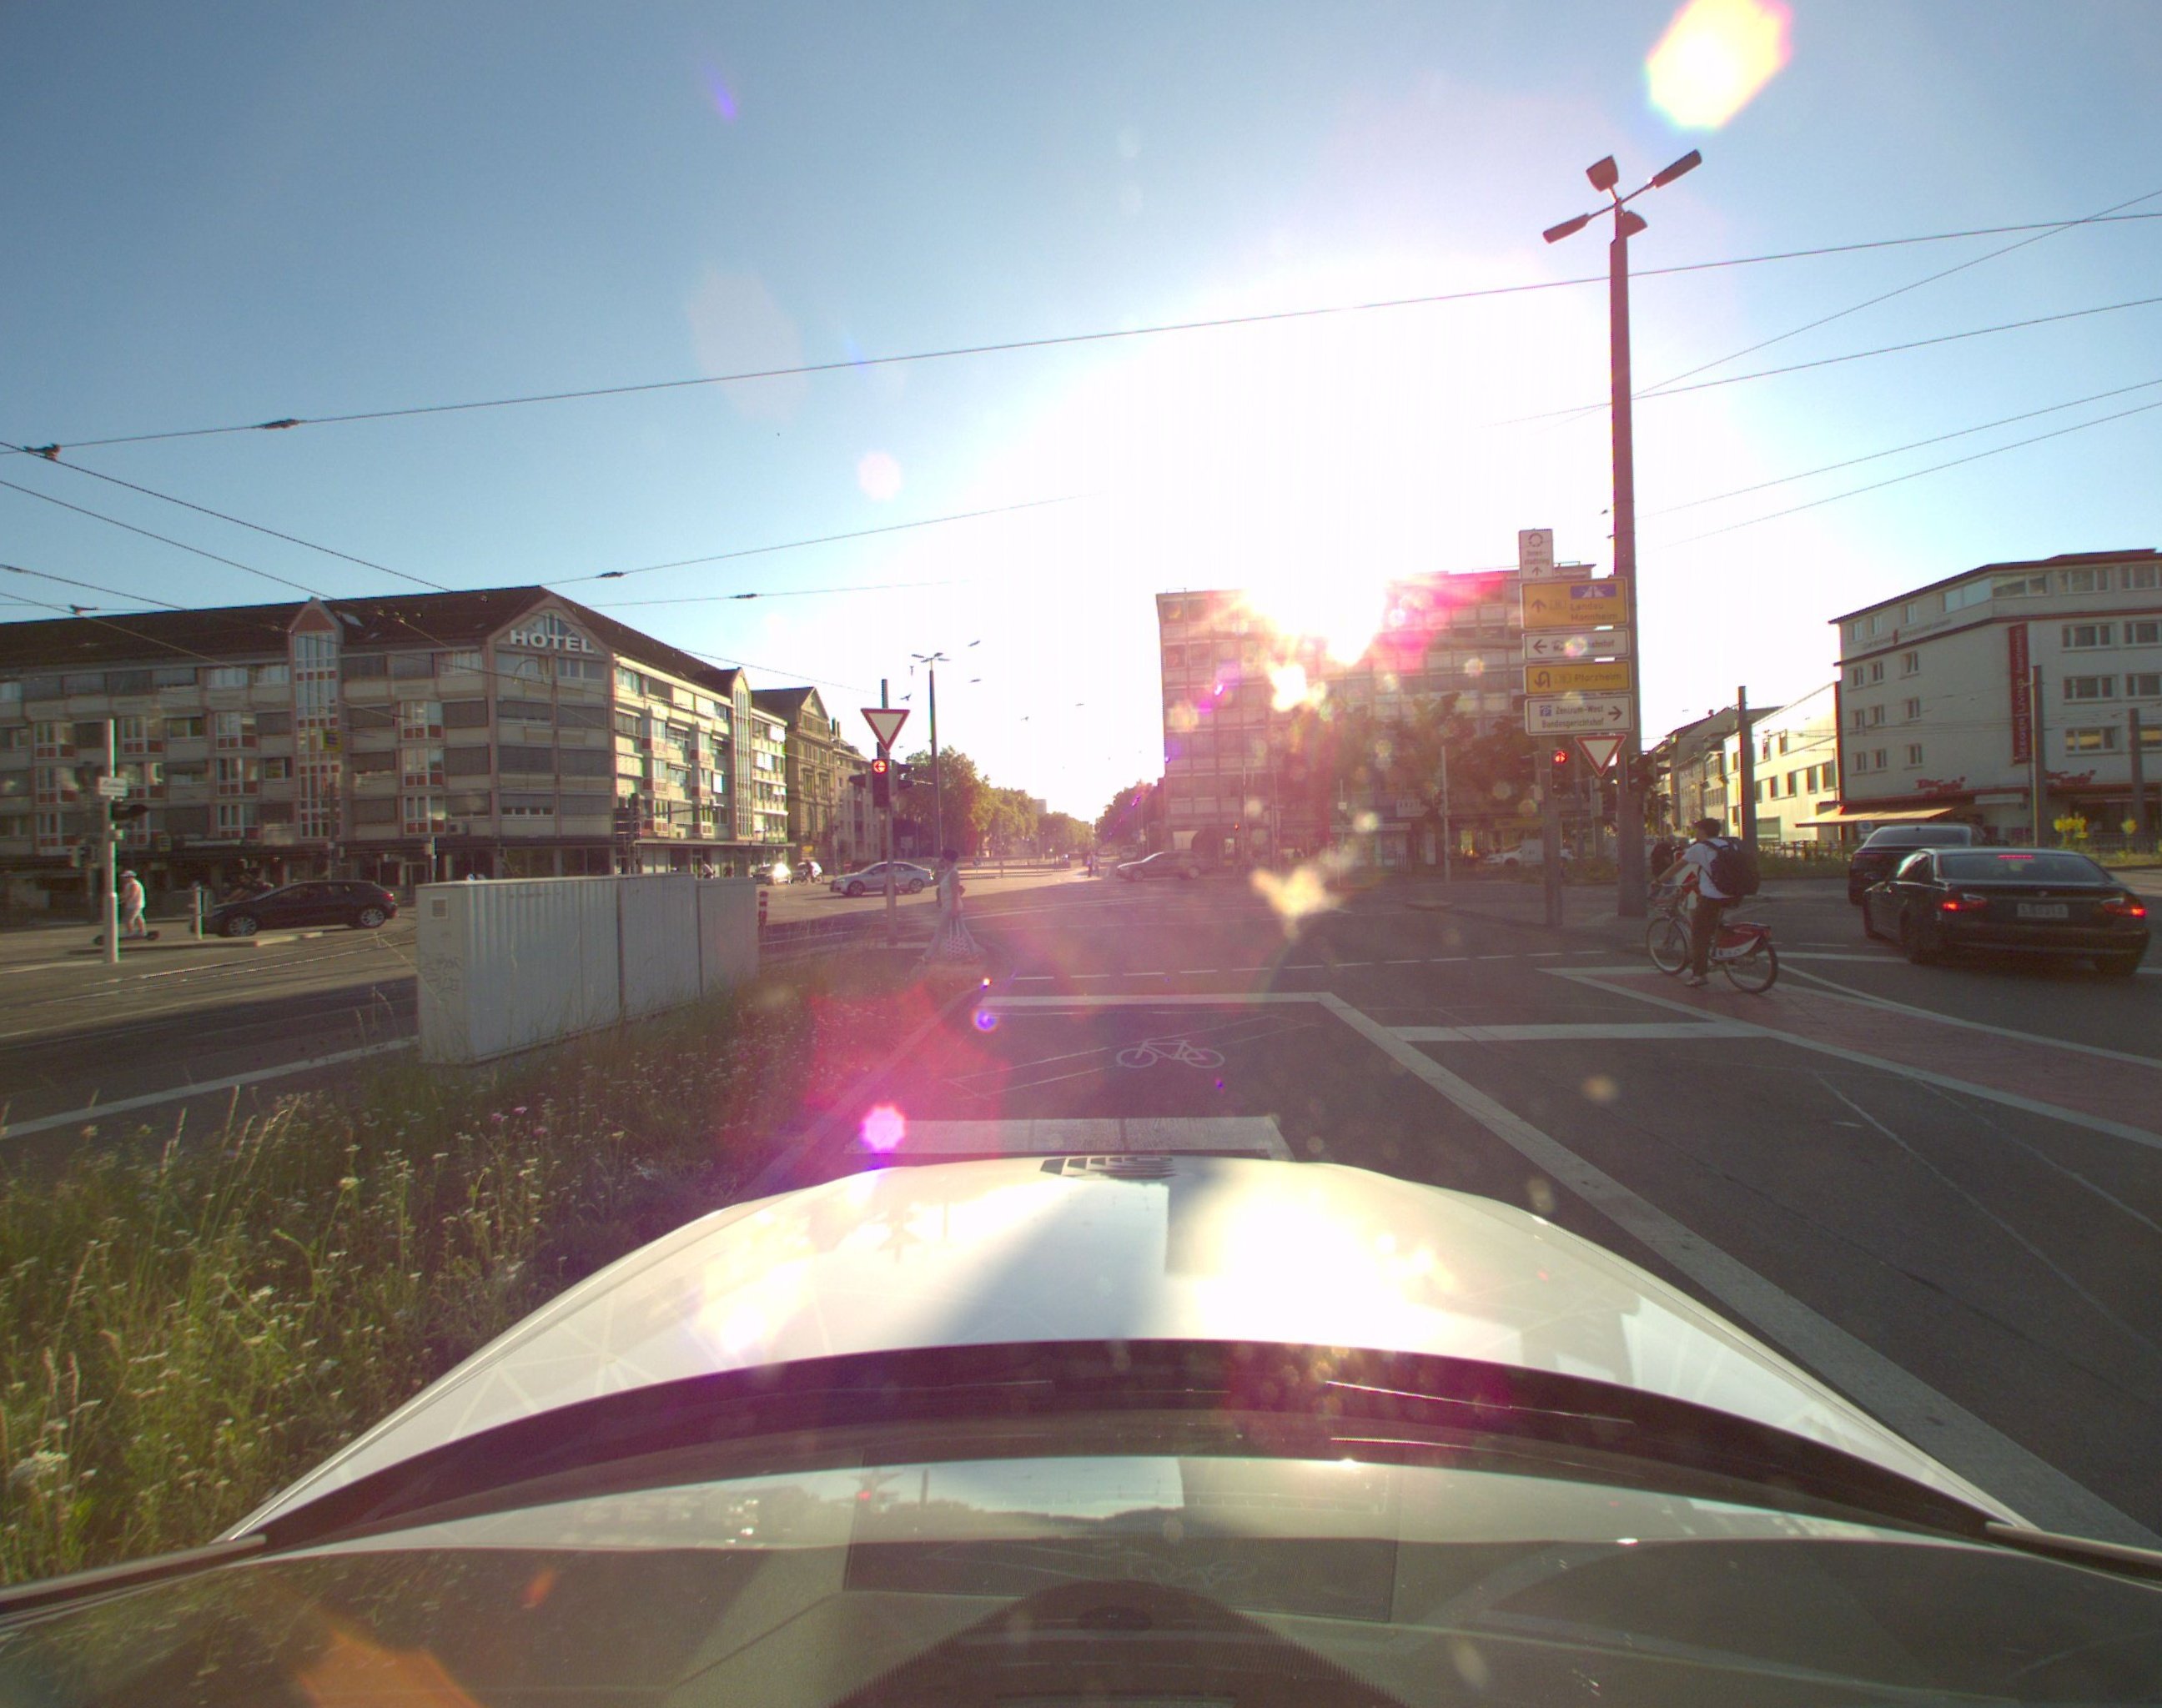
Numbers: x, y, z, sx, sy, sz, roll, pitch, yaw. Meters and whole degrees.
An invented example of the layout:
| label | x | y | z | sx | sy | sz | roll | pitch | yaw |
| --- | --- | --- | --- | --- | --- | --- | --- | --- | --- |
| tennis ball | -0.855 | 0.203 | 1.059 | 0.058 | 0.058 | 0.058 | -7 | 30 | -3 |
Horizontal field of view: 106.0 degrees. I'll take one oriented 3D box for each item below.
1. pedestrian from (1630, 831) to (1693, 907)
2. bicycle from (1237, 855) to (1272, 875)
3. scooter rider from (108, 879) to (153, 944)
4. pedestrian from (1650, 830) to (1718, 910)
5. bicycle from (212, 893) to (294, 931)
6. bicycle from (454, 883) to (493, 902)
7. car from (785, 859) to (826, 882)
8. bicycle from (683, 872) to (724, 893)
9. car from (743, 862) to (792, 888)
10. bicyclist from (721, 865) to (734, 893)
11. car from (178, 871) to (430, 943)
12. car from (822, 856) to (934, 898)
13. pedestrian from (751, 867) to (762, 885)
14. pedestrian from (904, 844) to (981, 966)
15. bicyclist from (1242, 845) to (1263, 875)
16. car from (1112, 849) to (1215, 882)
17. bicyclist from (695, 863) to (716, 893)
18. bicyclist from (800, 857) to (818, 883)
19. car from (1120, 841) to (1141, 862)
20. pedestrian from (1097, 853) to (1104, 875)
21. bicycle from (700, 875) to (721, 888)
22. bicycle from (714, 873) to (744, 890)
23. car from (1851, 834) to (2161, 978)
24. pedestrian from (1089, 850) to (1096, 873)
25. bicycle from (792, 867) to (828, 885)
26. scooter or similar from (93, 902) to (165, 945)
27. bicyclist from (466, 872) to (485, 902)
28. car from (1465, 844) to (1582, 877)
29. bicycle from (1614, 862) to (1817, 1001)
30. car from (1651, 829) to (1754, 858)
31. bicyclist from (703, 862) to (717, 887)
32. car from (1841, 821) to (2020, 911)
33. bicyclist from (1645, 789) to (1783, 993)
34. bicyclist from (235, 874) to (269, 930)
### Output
| label | x | y | z | sx | sy | sz | roll | pitch | yaw |
| --- | --- | --- | --- | --- | --- | --- | --- | --- | --- |
| pedestrian | 12.734 | 0.324 | 17.882 | 0.876 | 1.597 | 0.655 | -2 | 0 | 0 |
| bicycle | 10.484 | 0.672 | 49.286 | 1.967 | 1.098 | 0.677 | -2 | 0 | -2 |
| scooter rider | -26.151 | 1.578 | 22.413 | 0.520 | 1.712 | 0.670 | -3 | 0 | 29 |
| pedestrian | 12.565 | 0.321 | 16.981 | 0.876 | 1.597 | 0.655 | -2 | 0 | 0 |
| bicycle | -26.565 | 1.845 | 26.153 | 0.528 | 1.072 | 1.793 | -3 | 0 | 39 |
| bicycle | -35.754 | 2.259 | 47.920 | 1.731 | 1.059 | 0.538 | -2 | 0 | -8 |
| car | -24.275 | 1.429 | 71.905 | 1.984 | 1.859 | 4.005 | -2 | 0 | 4 |
| bicycle | -22.570 | 1.704 | 48.692 | 2.089 | 1.137 | 0.658 | -2 | 0 | -3 |
| car | -24.558 | 1.594 | 63.962 | 1.984 | 1.859 | 4.005 | -2 | 0 | 4 |
| bicyclist | -26.009 | 1.841 | 59.945 | 0.779 | 2.013 | 0.600 | -2 | 0 | -22 |
| car | -21.631 | 1.392 | 22.897 | 1.974 | 1.596 | 4.811 | -2 | 0 | 35 |
| car | -8.874 | 0.967 | 35.729 | 4.360 | 1.596 | 1.980 | -2 | 0 | -31 |
| pedestrian | -29.118 | 1.979 | 73.096 | 0.623 | 1.605 | 0.705 | -2 | 0 | 3 |
| pedestrian | -1.902 | 0.686 | 11.260 | 0.875 | 1.597 | 0.655 | -2 | 0 | 1 |
| bicyclist | 10.388 | 0.357 | 49.283 | 1.037 | 1.739 | 0.677 | -2 | 0 | -2 |
| car | 4.231 | 0.557 | 41.934 | 4.918 | 1.479 | 1.994 | -2 | 0 | -9 |
| bicyclist | -22.473 | 1.420 | 48.697 | 0.896 | 1.752 | 0.654 | -2 | 0 | -2 |
| bicyclist | -18.612 | 1.074 | 55.715 | 0.896 | 1.752 | 0.650 | -2 | 0 | -2 |
| car | 6.389 | -0.309 | 106.293 | 2.477 | 2.392 | 5.936 | -4 | 0 | 2 |
| pedestrian | 1.286 | 0.664 | 54.737 | 0.365 | 1.508 | 0.542 | -2 | 0 | -5 |
| bicycle | -27.478 | 2.021 | 60.429 | 0.596 | 0.915 | 1.838 | -2 | 0 | 4 |
| bicycle | -25.890 | 2.019 | 59.997 | 1.969 | 1.201 | 0.605 | -2 | 0 | -22 |
| car | 11.251 | 0.503 | 10.224 | 1.726 | 1.426 | 4.026 | -2 | 0 | 36 |
| pedestrian | 0.752 | 0.502 | 53.347 | 0.365 | 1.508 | 0.542 | -2 | 0 | -5 |
| bicycle | -18.531 | 1.501 | 55.723 | 2.168 | 1.137 | 0.658 | -2 | 0 | -3 |
| scooter or similar | -26.152 | 1.899 | 22.384 | 0.523 | 1.072 | 1.183 | -3 | 0 | 30 |
| bicyclist | -35.660 | 1.921 | 47.936 | 0.663 | 1.712 | 0.537 | -2 | 0 | -8 |
| car | 22.621 | 0.335 | 41.788 | 4.896 | 1.479 | 2.003 | -2 | 0 | 5 |
| bicycle | 6.617 | 0.734 | 8.664 | 0.642 | 1.223 | 2.050 | 0 | 2 | 3 |
| car | 33.591 | -0.568 | 44.113 | 3.968 | 1.420 | 2.003 | -2 | 0 | 5 |
| bicyclist | -27.543 | 1.530 | 60.484 | 0.590 | 1.862 | 0.642 | -2 | 0 | 3 |
| car | 18.015 | 0.162 | 17.240 | 4.016 | 1.693 | 1.979 | -2 | 1 | -34 |
| bicyclist | 6.621 | 0.353 | 8.577 | 0.641 | 2.013 | 1.068 | 0 | 1 | 3 |
| bicyclist | -26.600 | 1.529 | 26.133 | 0.531 | 1.712 | 0.670 | -3 | 0 | 39 |
